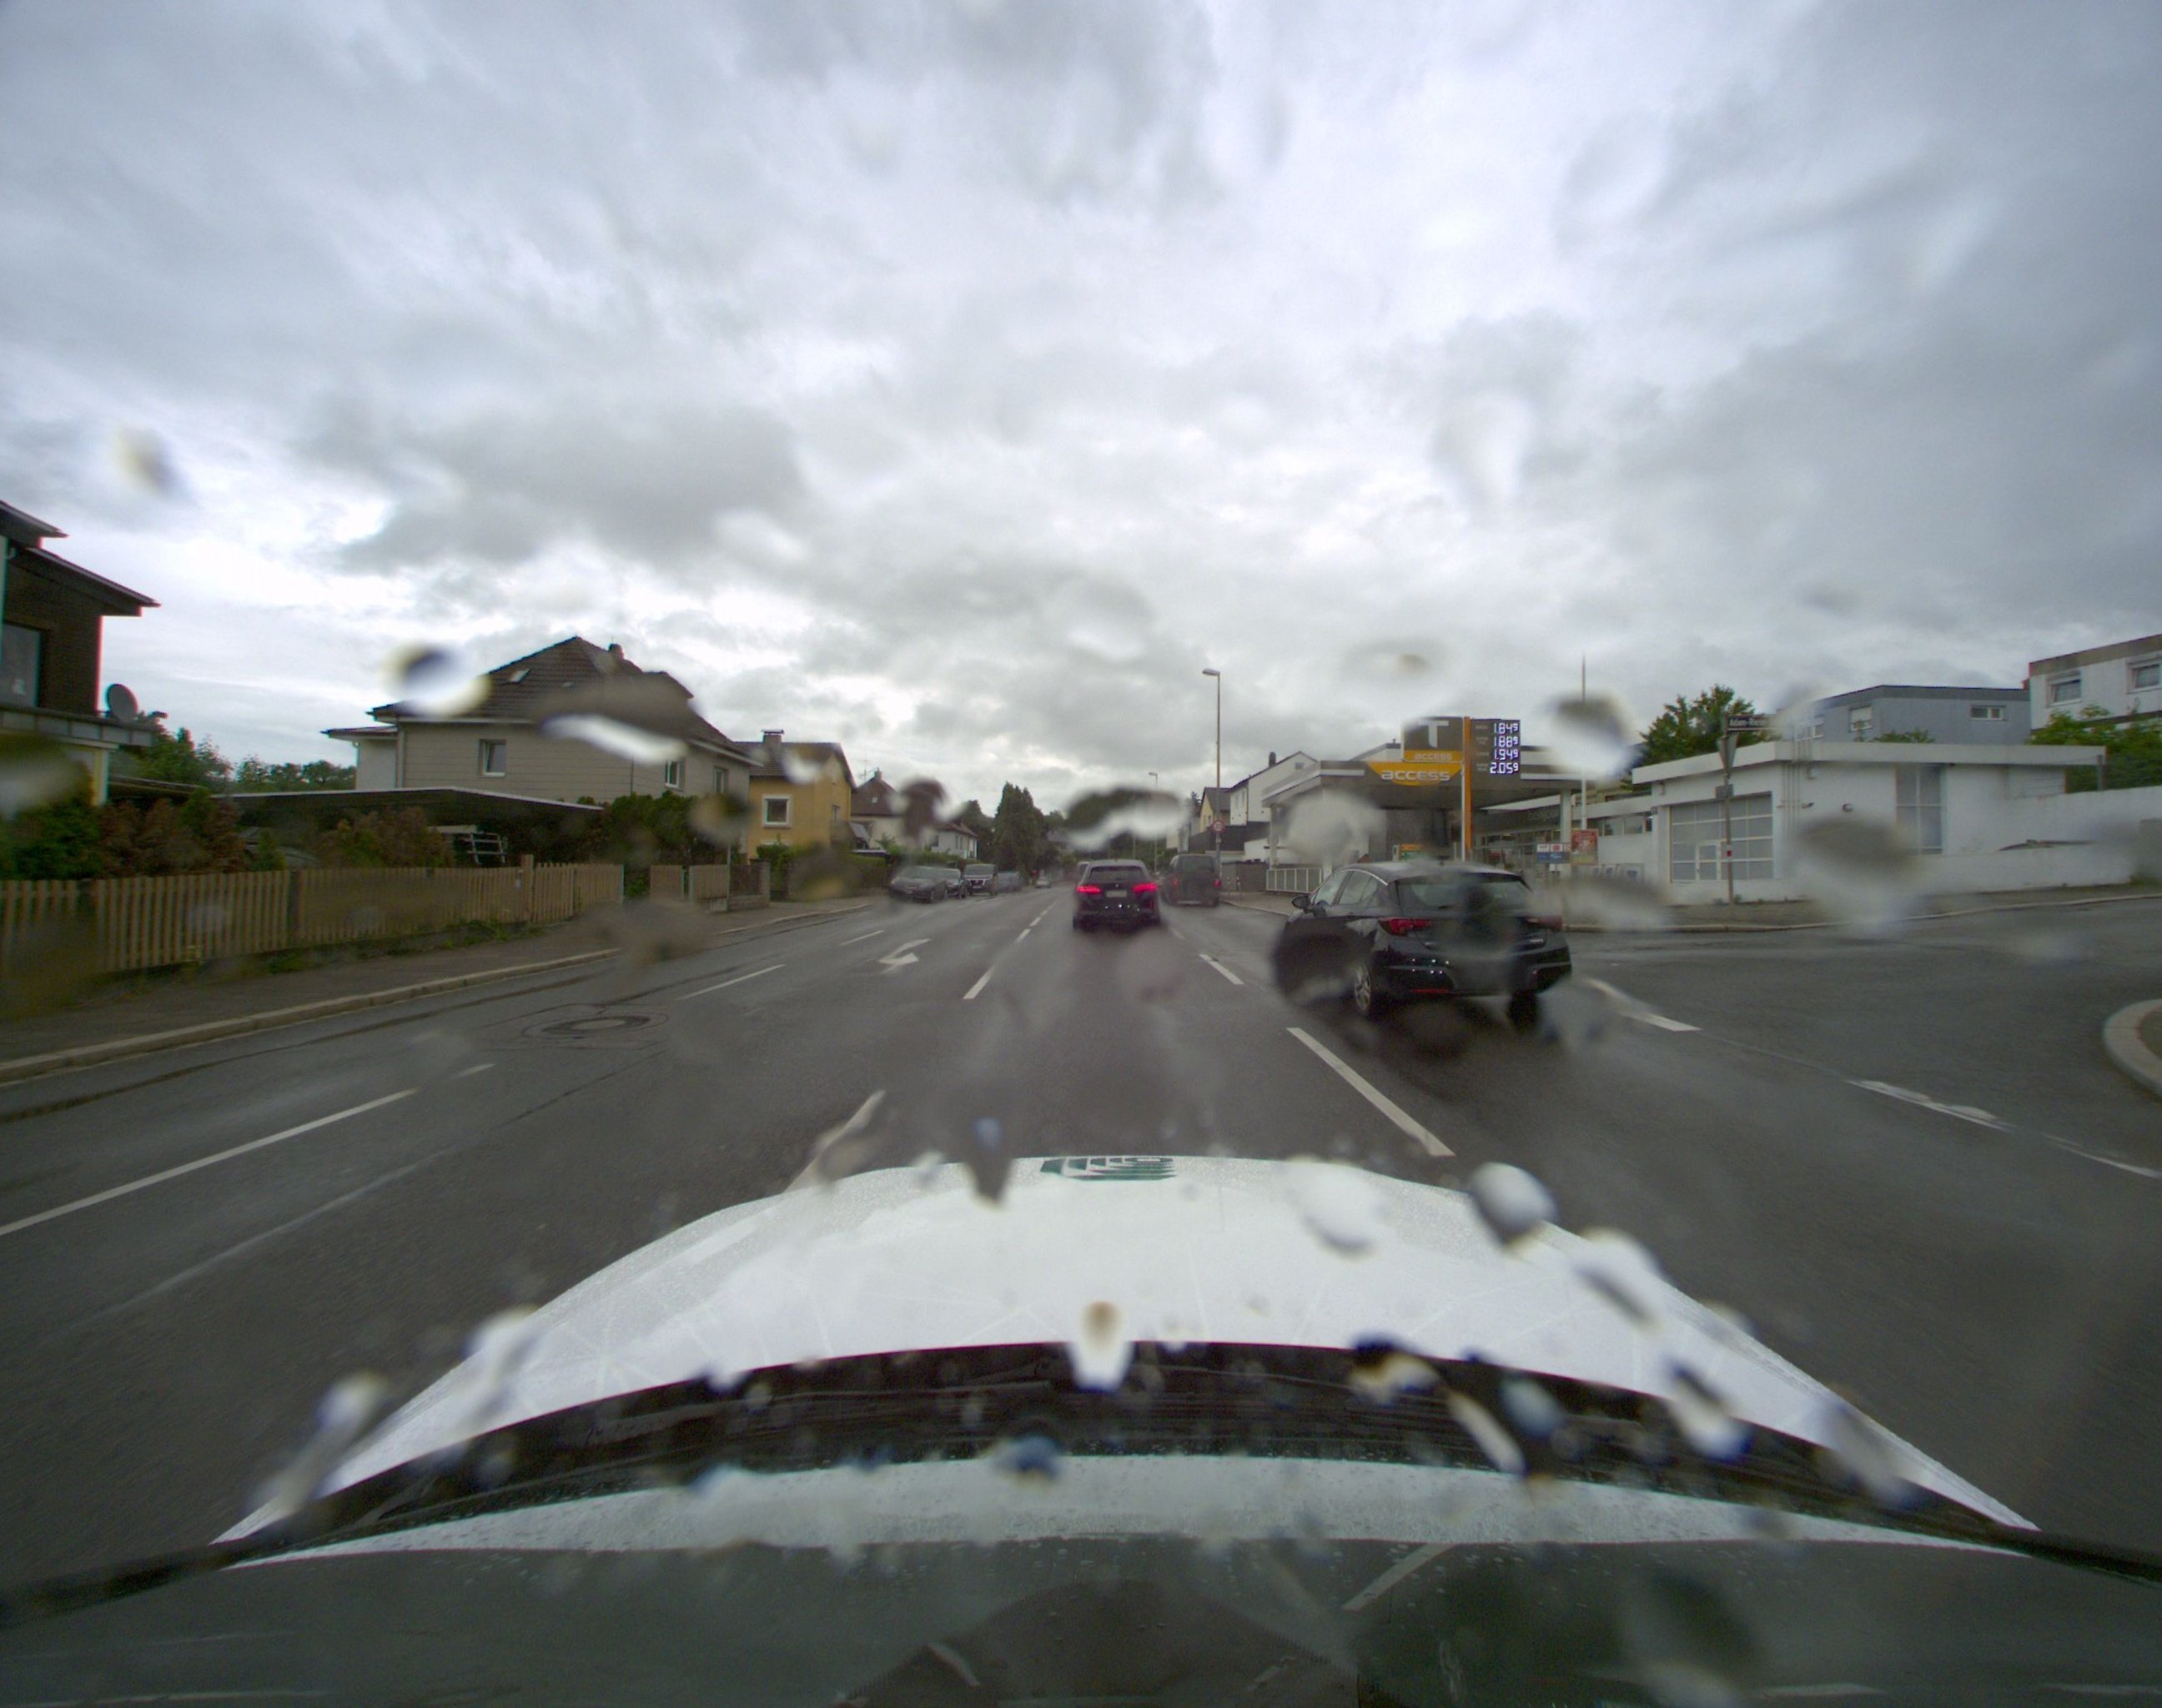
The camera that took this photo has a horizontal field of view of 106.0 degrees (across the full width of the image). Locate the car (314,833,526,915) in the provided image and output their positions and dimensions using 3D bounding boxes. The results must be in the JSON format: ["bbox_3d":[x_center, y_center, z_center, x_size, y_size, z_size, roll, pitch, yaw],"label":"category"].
[{"bbox_3d":[-17.122,0.510,21.225,3.967,1.954,2.003,-2,-1,6],"label":"car"}]

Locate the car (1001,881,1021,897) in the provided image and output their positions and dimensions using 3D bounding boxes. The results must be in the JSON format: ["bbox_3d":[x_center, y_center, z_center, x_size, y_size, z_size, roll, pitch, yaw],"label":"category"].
[{"bbox_3d":[-6.219,3.122,72.512,1.547,1.431,4.011,0,-2,-1],"label":"car"}]

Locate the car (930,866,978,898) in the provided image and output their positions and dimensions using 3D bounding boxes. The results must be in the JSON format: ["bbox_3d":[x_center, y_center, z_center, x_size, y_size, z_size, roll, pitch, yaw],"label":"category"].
[{"bbox_3d":[-6.320,1.410,40.920,1.745,1.517,4.524,0,-2,-1],"label":"car"}]

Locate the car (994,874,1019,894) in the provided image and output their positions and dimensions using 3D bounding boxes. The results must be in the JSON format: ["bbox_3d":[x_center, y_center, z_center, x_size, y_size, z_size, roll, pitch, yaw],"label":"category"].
[{"bbox_3d":[-6.045,2.448,66.367,1.752,1.533,4.283,0,-2,-1],"label":"car"}]

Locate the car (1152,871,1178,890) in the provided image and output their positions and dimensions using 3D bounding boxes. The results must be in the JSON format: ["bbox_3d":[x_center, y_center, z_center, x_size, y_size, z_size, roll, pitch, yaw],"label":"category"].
[{"bbox_3d":[6.940,2.193,67.616,1.694,1.510,4.533,0,-2,1],"label":"car"}]

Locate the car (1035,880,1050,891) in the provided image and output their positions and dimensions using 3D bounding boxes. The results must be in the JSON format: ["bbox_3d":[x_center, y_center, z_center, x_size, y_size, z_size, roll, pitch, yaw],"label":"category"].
[{"bbox_3d":[-5.658,4.640,119.082,1.877,1.585,4.000,0,-2,1],"label":"car"}]

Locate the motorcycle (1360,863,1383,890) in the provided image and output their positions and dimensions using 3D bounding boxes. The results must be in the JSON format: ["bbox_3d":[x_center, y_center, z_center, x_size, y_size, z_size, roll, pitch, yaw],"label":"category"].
[{"bbox_3d":[11.734,0.916,32.944,0.461,1.055,1.390,0,-2,1],"label":"motorcycle"}]

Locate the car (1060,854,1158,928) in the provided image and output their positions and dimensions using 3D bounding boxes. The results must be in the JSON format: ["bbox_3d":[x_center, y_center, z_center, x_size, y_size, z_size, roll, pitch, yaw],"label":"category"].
[{"bbox_3d":[0.623,0.827,18.529,1.986,1.484,4.001,0,-2,2],"label":"car"}]

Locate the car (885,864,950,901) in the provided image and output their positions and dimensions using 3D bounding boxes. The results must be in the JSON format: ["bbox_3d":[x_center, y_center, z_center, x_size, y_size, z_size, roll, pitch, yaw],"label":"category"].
[{"bbox_3d":[-6.832,1.210,34.418,1.743,1.440,4.130,0,-2,2],"label":"car"}]

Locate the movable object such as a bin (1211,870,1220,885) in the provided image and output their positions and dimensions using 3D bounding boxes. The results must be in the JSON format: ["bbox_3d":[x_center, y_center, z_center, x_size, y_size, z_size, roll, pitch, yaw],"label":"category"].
[{"bbox_3d":[10.191,1.770,61.709,0.593,1.105,0.667,-3,-2,0],"label":"movable object such as a bin"}]

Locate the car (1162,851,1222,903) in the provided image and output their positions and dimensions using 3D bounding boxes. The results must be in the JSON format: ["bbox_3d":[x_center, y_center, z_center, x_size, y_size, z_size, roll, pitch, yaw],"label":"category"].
[{"bbox_3d":[3.985,0.860,29.840,1.831,1.767,4.001,0,-2,2],"label":"car"}]

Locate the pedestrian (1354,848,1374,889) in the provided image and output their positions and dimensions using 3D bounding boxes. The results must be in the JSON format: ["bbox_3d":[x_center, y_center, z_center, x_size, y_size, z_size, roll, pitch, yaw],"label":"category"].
[{"bbox_3d":[11.548,0.587,33.278,0.608,1.656,0.585,0,-2,1],"label":"pedestrian"}]

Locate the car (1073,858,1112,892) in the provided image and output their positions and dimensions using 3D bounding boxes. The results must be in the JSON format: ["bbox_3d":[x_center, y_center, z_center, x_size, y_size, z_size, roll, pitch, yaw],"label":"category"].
[{"bbox_3d":[0.636,1.135,43.669,1.986,1.738,4.000,0,-2,1],"label":"car"}]

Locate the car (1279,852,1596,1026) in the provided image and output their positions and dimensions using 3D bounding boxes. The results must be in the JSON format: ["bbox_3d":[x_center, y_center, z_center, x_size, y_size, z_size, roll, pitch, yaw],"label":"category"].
[{"bbox_3d":[3.469,0.717,8.814,1.750,1.449,4.000,0,0,1],"label":"car"}]

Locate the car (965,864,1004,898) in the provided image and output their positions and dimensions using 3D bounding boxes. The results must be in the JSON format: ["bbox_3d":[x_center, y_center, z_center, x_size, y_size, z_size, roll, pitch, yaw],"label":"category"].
[{"bbox_3d":[-5.984,1.715,50.978,1.907,2.003,5.083,0,-2,-1],"label":"car"}]

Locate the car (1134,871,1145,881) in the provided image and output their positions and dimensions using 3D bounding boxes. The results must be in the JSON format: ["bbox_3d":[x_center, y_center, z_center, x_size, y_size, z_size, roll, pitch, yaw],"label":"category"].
[{"bbox_3d":[13.643,5.005,188.711,2.510,2.013,5.615,1,1,4],"label":"car"}]
